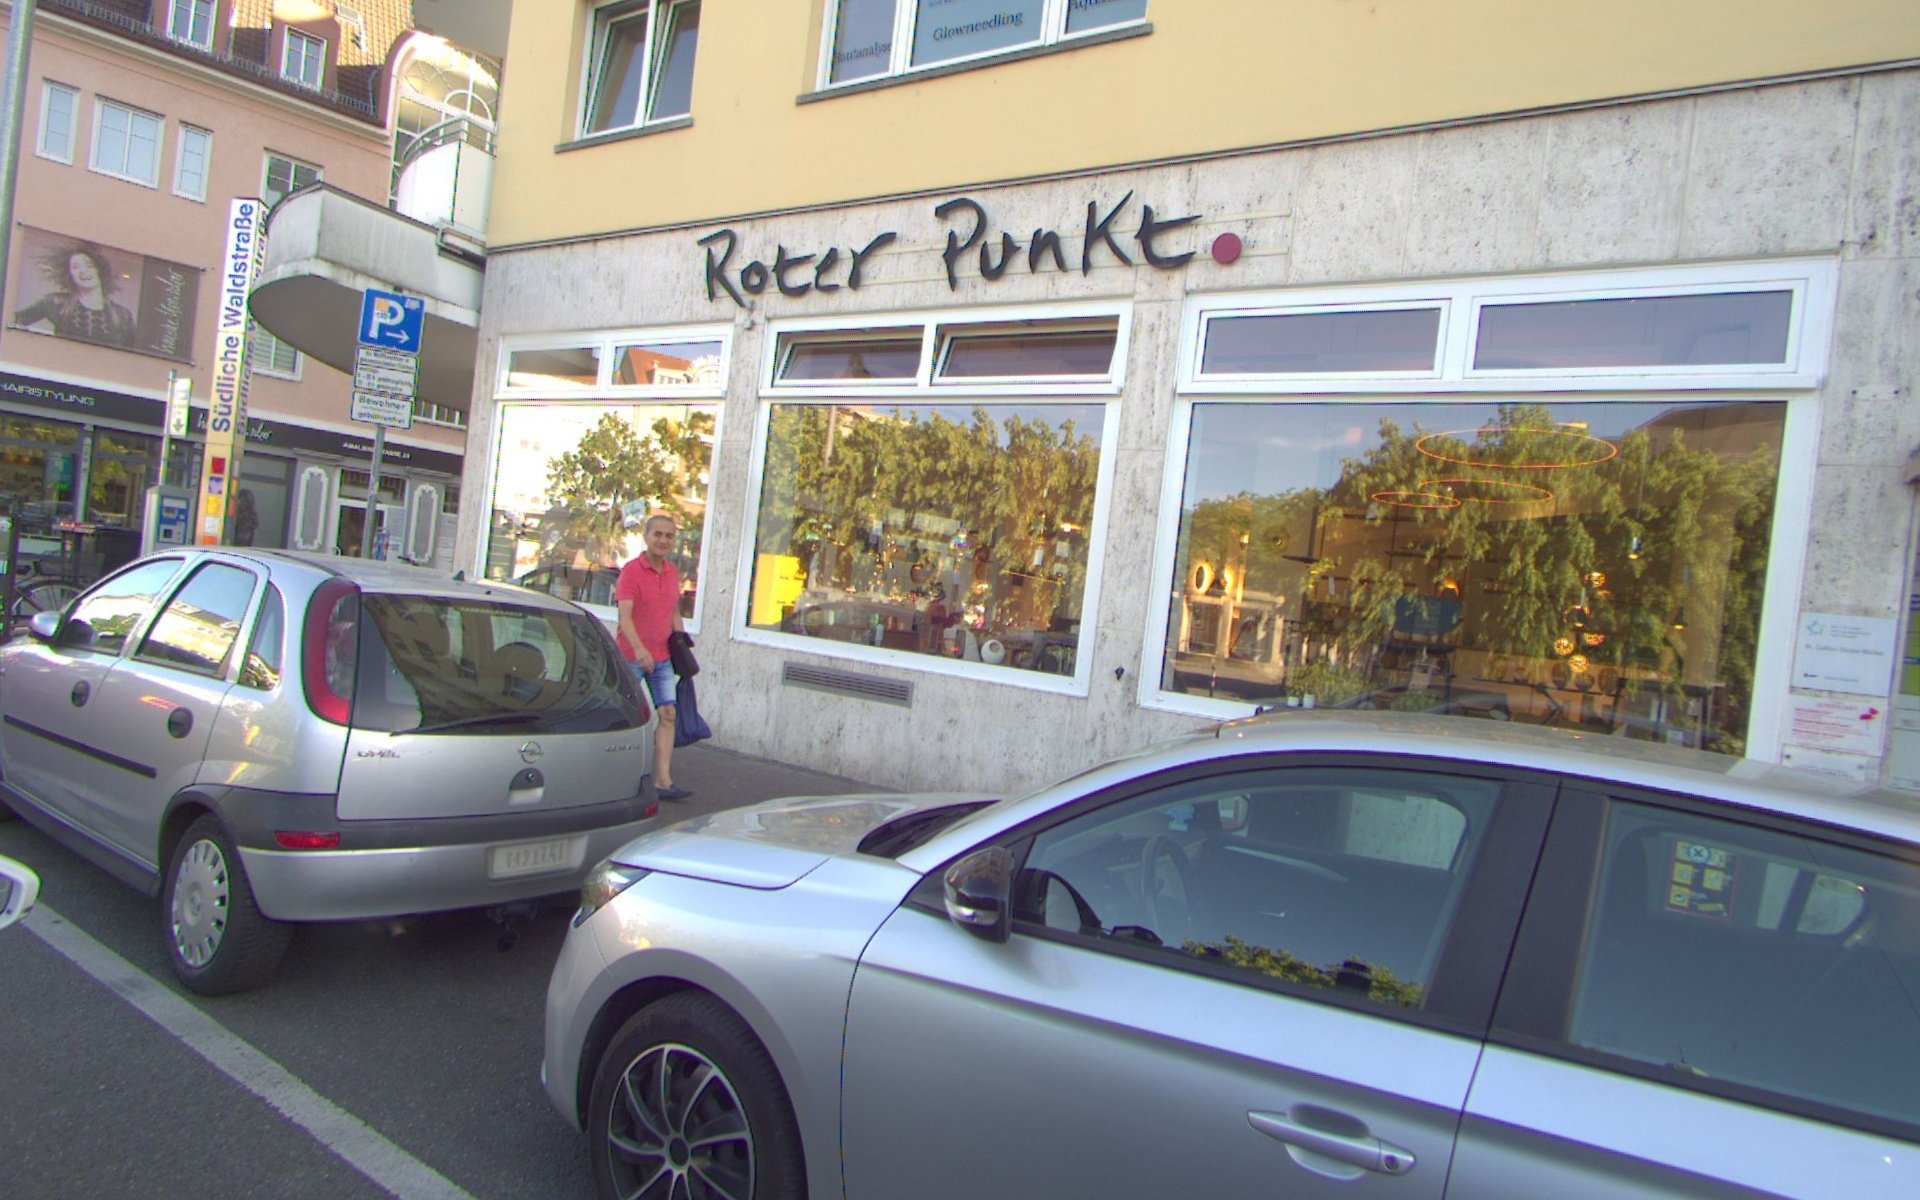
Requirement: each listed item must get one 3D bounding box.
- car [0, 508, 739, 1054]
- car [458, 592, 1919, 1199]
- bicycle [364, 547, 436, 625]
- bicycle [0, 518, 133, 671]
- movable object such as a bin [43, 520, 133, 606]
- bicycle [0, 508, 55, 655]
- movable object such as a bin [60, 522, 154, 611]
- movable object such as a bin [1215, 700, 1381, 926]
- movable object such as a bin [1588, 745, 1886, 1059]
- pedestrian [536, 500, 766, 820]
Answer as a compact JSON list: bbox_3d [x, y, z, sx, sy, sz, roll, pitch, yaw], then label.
[{"bbox_3d":[-2.930,0.486,4.460,3.583,1.397,1.616,7,-2,32],"label":"car"},{"bbox_3d":[0.790,0.933,2.309,3.643,1.415,1.653,7,-1,30],"label":"car"},{"bbox_3d":[-10.034,-0.274,17.972,0.656,1.213,2.187,7,-1,-39],"label":"bicycle"},{"bbox_3d":[-8.094,-0.078,8.227,0.681,1.208,1.885,8,1,37],"label":"bicycle"},{"bbox_3d":[-12.426,-0.522,14.348,0.617,1.105,0.734,6,-1,34],"label":"movable object such as a bin"},{"bbox_3d":[-9.098,-0.230,8.701,0.778,1.284,1.721,7,1,37],"label":"bicycle"},{"bbox_3d":[-11.890,-0.463,14.028,0.617,1.105,0.754,6,-1,34],"label":"movable object such as a bin"},{"bbox_3d":[1.860,1.105,5.484,0.592,1.041,0.811,7,0,32],"label":"movable object such as a bin"},{"bbox_3d":[3.404,1.267,4.513,0.879,1.066,0.751,7,0,32],"label":"movable object such as a bin"},{"bbox_3d":[-1.958,0.338,6.362,0.994,1.807,0.862,7,2,40],"label":"pedestrian"}]
